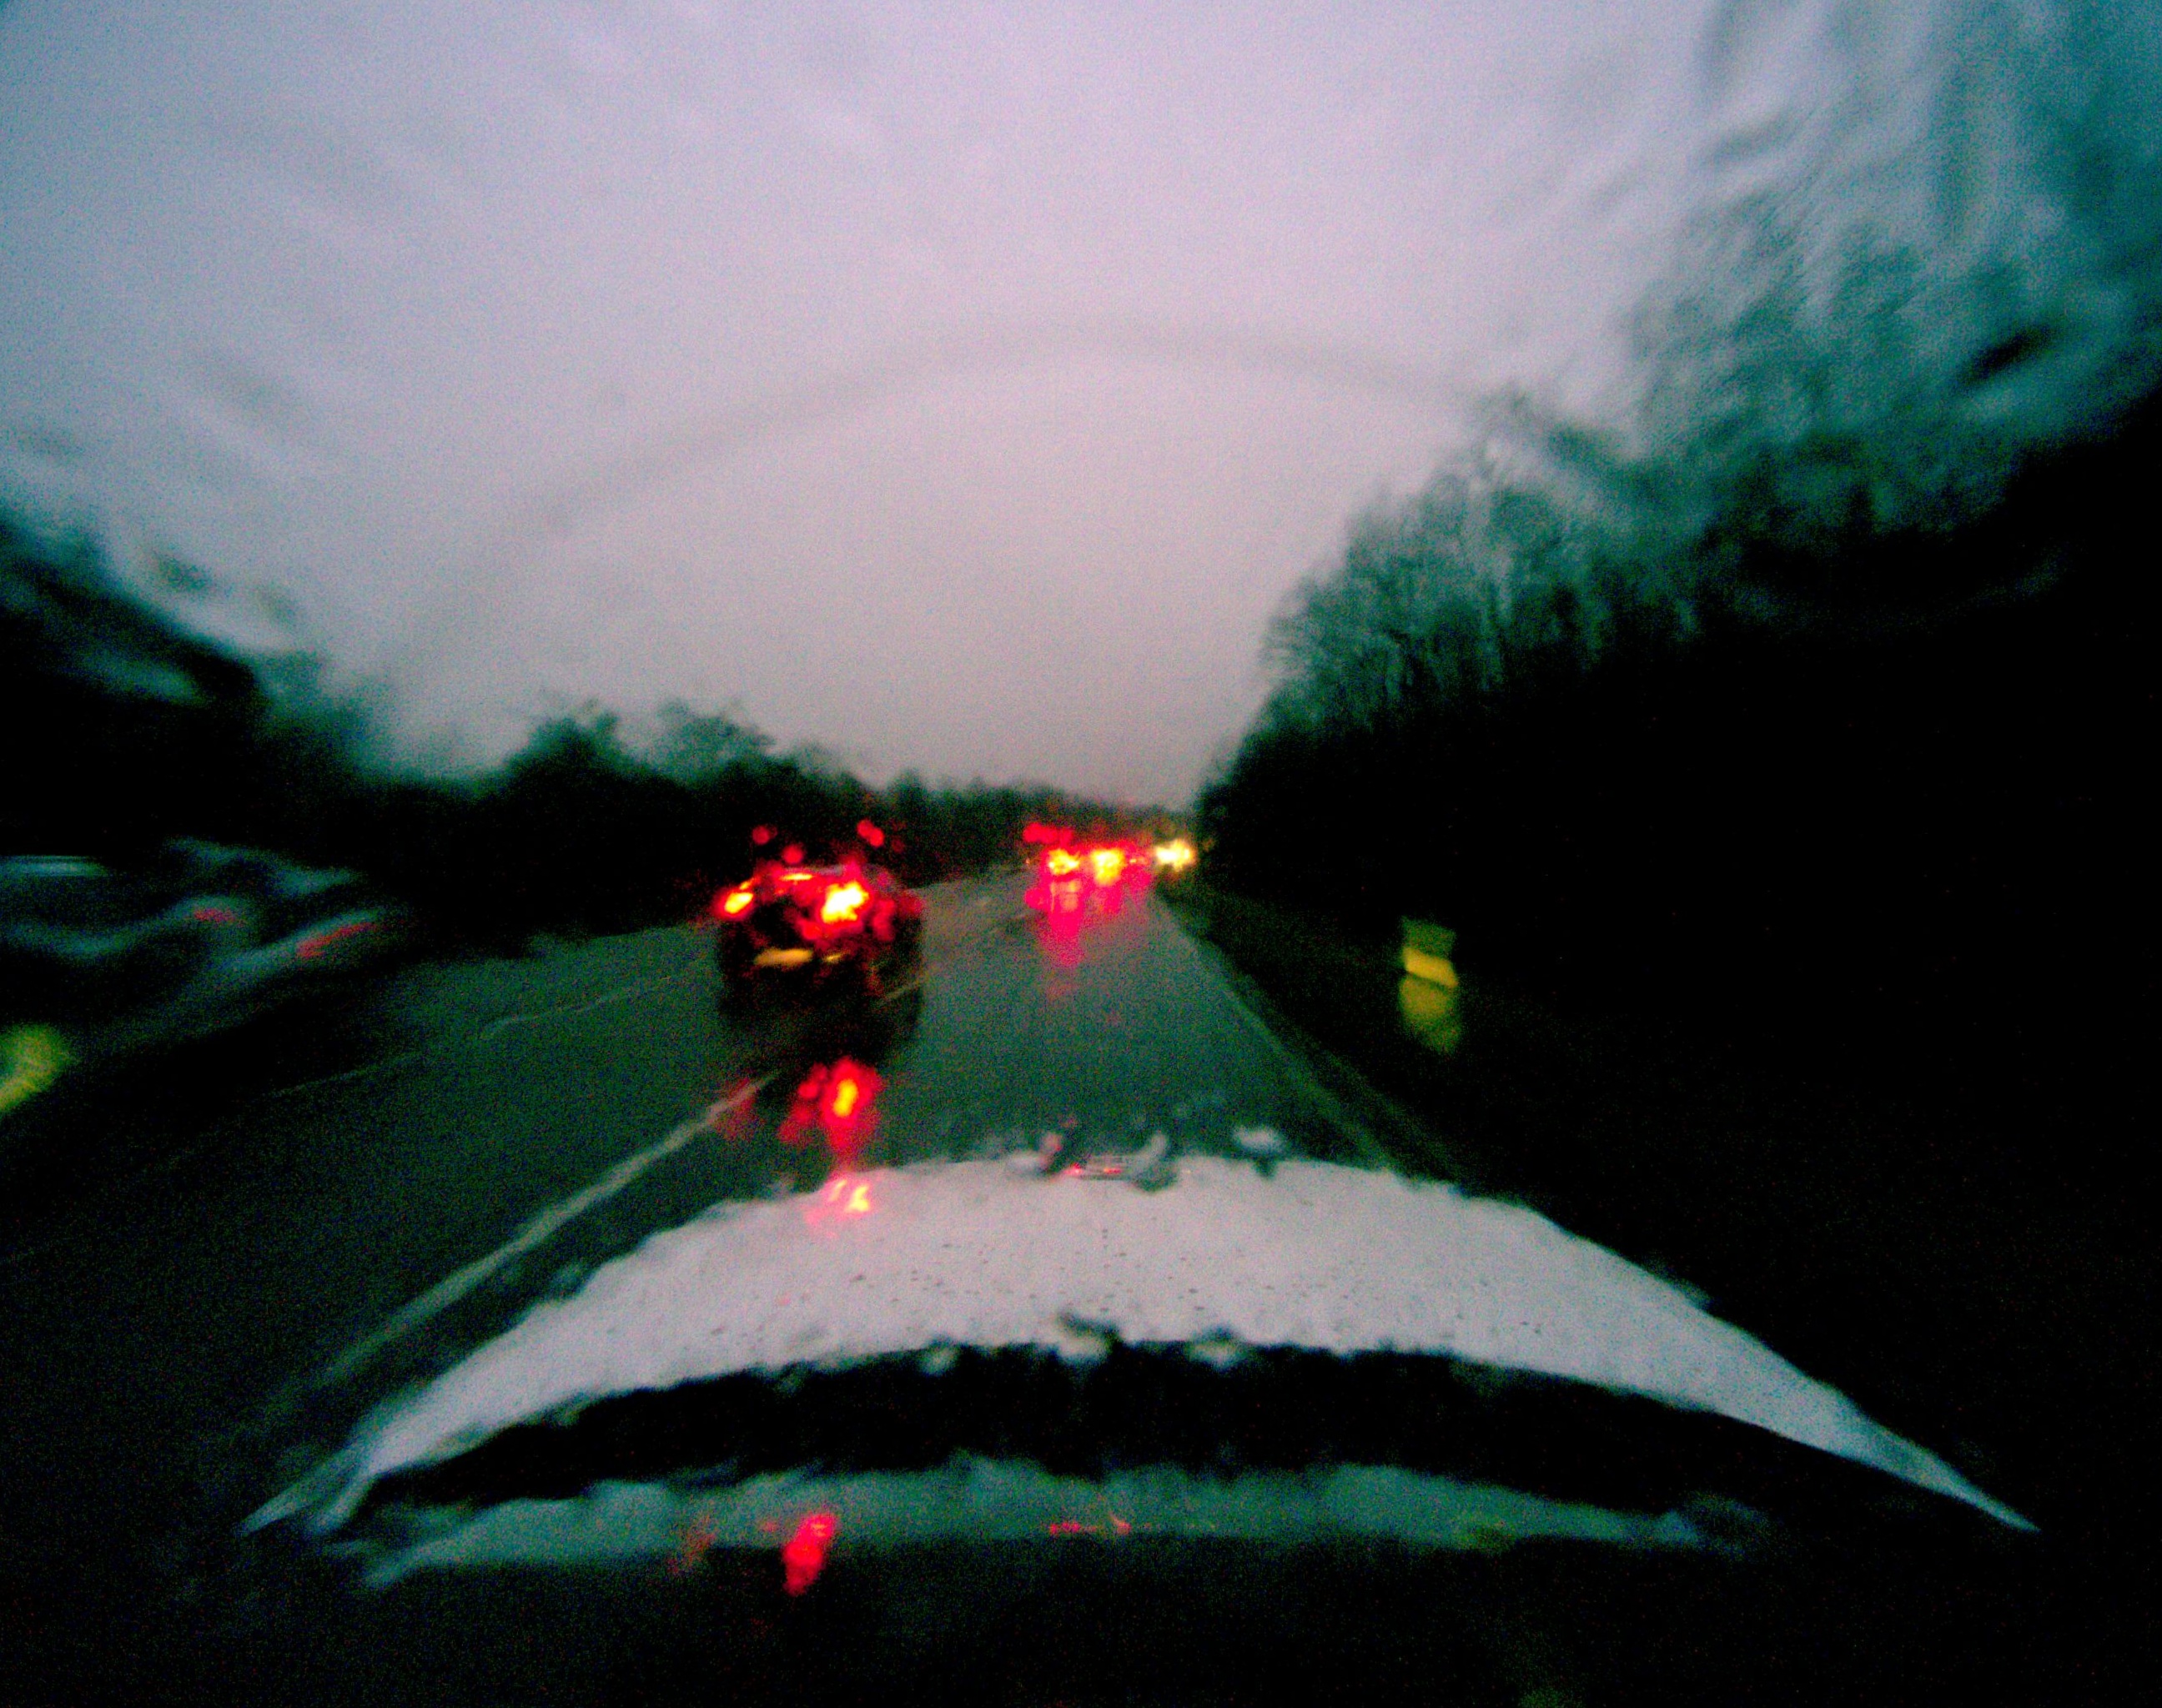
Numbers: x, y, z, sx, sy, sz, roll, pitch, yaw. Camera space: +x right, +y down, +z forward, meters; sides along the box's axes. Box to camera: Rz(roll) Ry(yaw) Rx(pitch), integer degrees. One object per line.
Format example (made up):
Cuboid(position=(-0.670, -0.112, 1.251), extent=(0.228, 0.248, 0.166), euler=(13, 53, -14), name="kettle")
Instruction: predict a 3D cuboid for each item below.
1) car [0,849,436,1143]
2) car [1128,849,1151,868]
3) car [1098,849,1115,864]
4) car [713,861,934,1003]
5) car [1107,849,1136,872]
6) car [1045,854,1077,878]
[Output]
Cuboid(position=(-7.087, 0.822, 5.321), extent=(1.987, 1.649, 4.720), euler=(-1, 0, -1), name="car")
Cuboid(position=(5.575, 0.416, 77.359), extent=(1.668, 1.675, 4.111), euler=(-2, 1, 11), name="car")
Cuboid(position=(2.909, 0.282, 92.742), extent=(1.705, 1.627, 4.223), euler=(-1, 1, 5), name="car")
Cuboid(position=(-3.034, 0.823, 10.517), extent=(1.628, 1.421, 4.168), euler=(0, 0, -2), name="car")
Cuboid(position=(2.720, 0.423, 54.549), extent=(1.670, 1.389, 4.105), euler=(-2, 1, 6), name="car")
Cuboid(position=(-1.309, 0.781, 55.824), extent=(1.998, 1.556, 4.518), euler=(-1, 0, 1), name="car")
